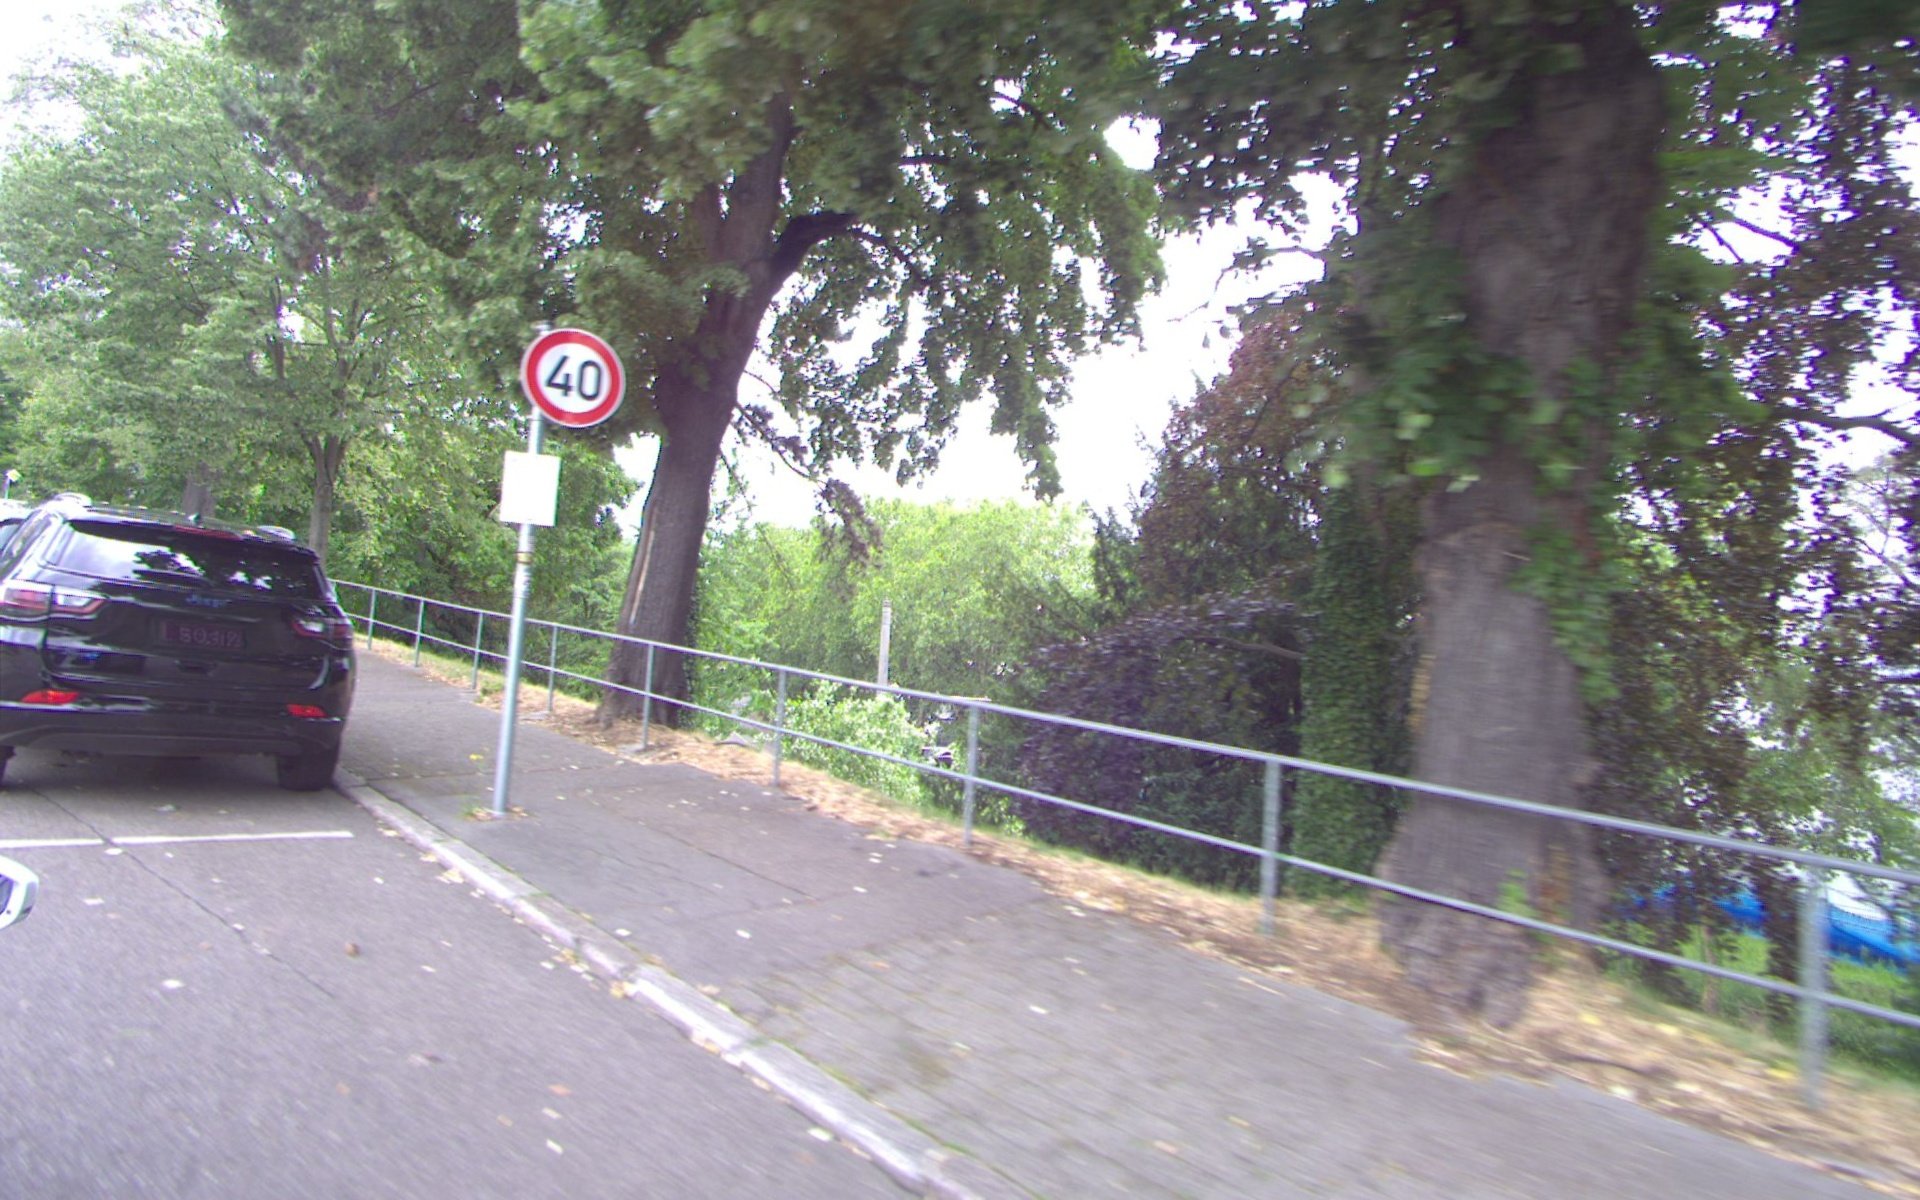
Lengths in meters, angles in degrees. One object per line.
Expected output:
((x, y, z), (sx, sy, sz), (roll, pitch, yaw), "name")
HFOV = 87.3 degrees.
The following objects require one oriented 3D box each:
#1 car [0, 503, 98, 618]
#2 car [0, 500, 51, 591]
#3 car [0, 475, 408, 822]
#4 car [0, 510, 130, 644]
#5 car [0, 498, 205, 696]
((-16.606, -0.808, 17.550), (4.033, 1.648, 1.727), (6, -5, 43), "car")
((-21.008, -1.325, 21.519), (4.997, 1.696, 1.875), (6, -4, 45), "car")
((-5.626, 0.190, 6.899), (1.901, 1.633, 4.542), (10, -3, -45), "car")
((-13.198, -0.434, 14.148), (4.009, 1.532, 1.629), (6, -4, 42), "car")
((-9.311, -0.132, 10.290), (4.308, 1.594, 1.731), (5, -3, 44), "car")
